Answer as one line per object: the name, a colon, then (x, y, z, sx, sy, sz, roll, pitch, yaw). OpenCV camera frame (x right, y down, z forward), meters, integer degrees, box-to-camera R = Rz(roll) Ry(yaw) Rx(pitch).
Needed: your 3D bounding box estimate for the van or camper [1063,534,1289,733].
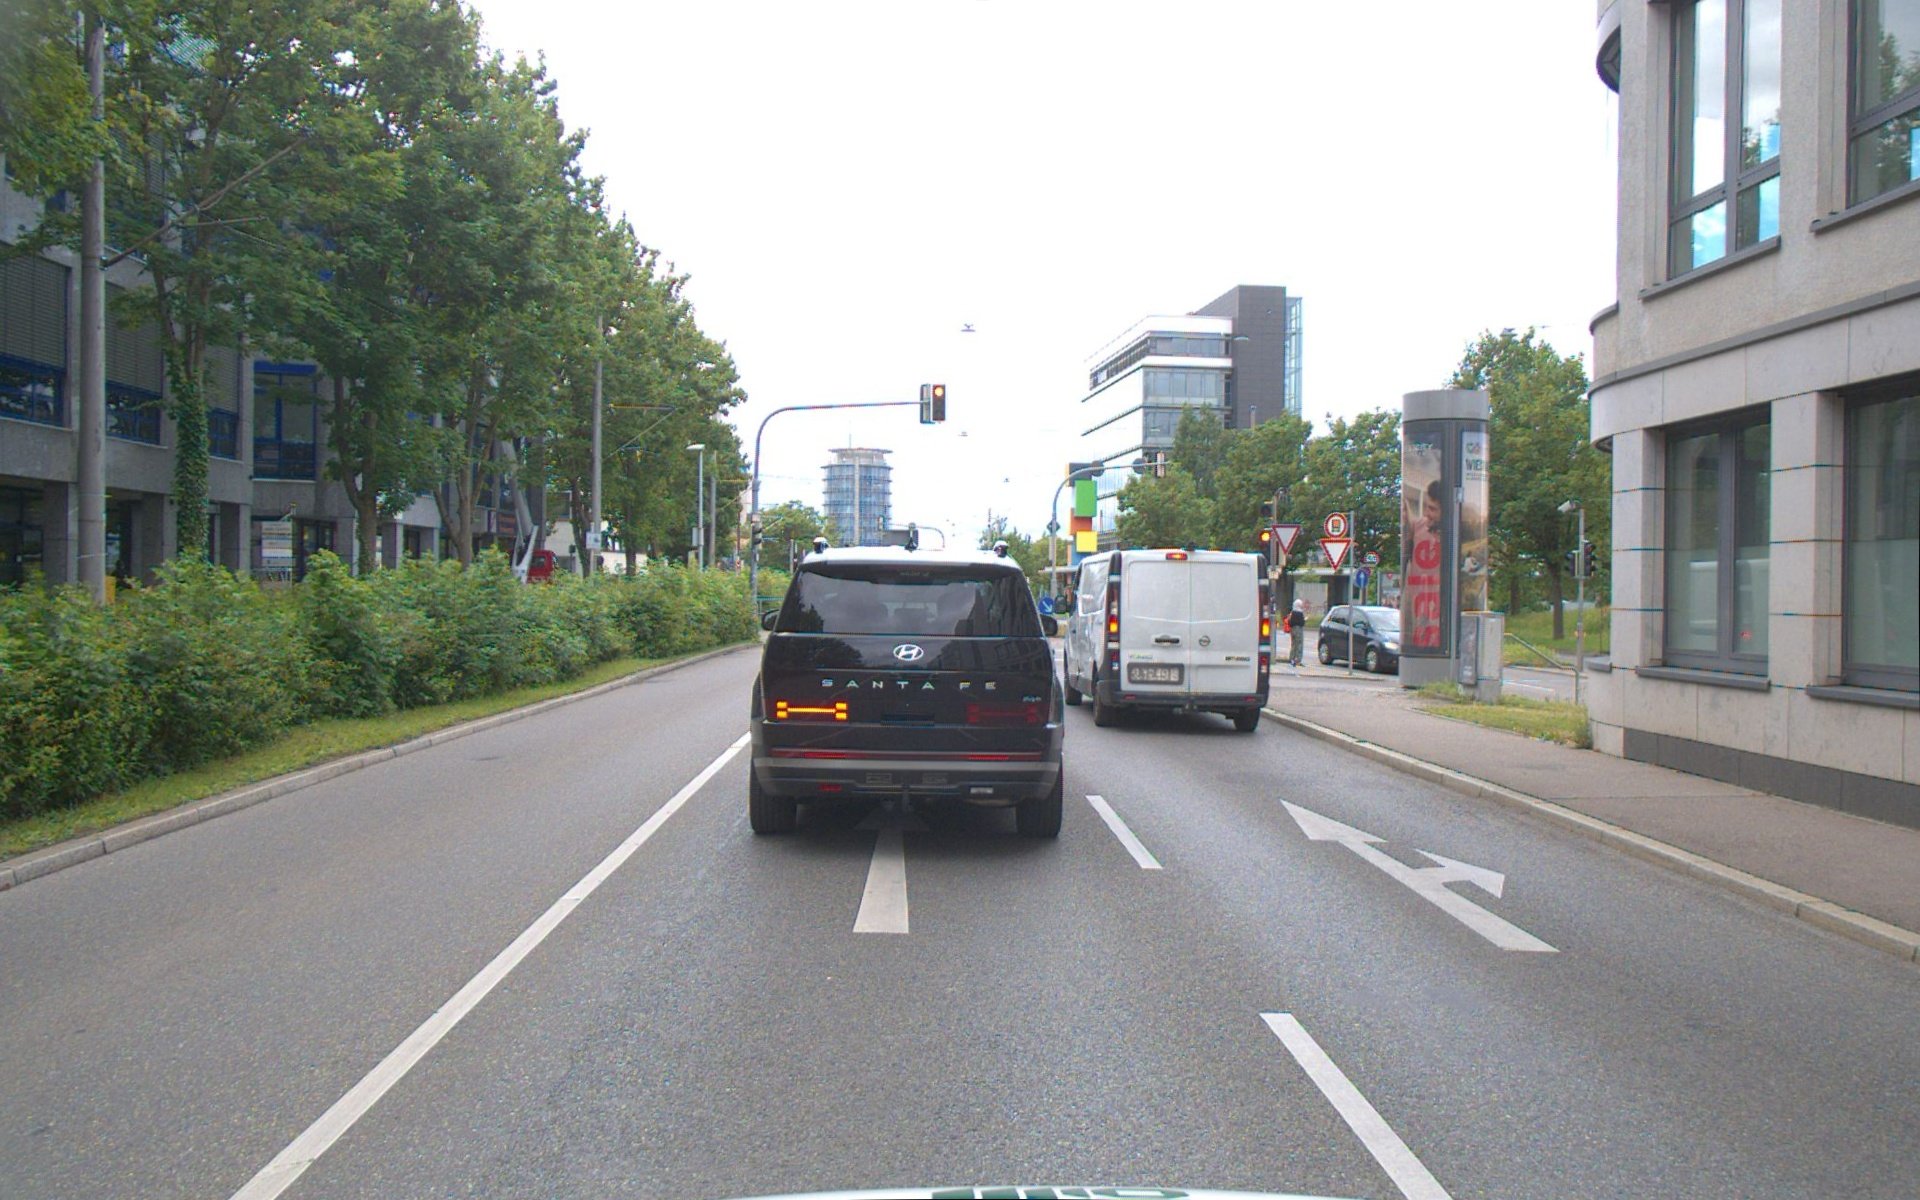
van or camper: (2.426, 0.344, 19.753, 1.953, 2.049, 4.651, 1, 0, -1)

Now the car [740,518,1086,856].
car: (-0.294, 0.460, 10.782, 1.831, 1.791, 3.878, 1, 0, -1)

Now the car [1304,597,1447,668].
car: (10.434, 0.792, 41.784, 1.674, 1.713, 3.767, 1, -1, -20)

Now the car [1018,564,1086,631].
car: (2.966, -0.059, 54.034, 1.953, 2.049, 3.999, 1, 0, 0)

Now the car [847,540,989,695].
car: (-0.608, 0.229, 24.012, 1.876, 2.038, 3.878, 1, 0, -2)

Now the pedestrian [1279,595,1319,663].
pedestrian: (8.266, 0.700, 40.283, 0.734, 1.612, 0.565, 3, 0, -41)

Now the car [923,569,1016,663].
car: (0.202, 0.317, 33.655, 1.739, 1.747, 4.338, 1, 0, 0)

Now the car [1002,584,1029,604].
car: (4.875, -0.520, 145.580, 1.954, 1.713, 3.997, 1, 0, -4)
